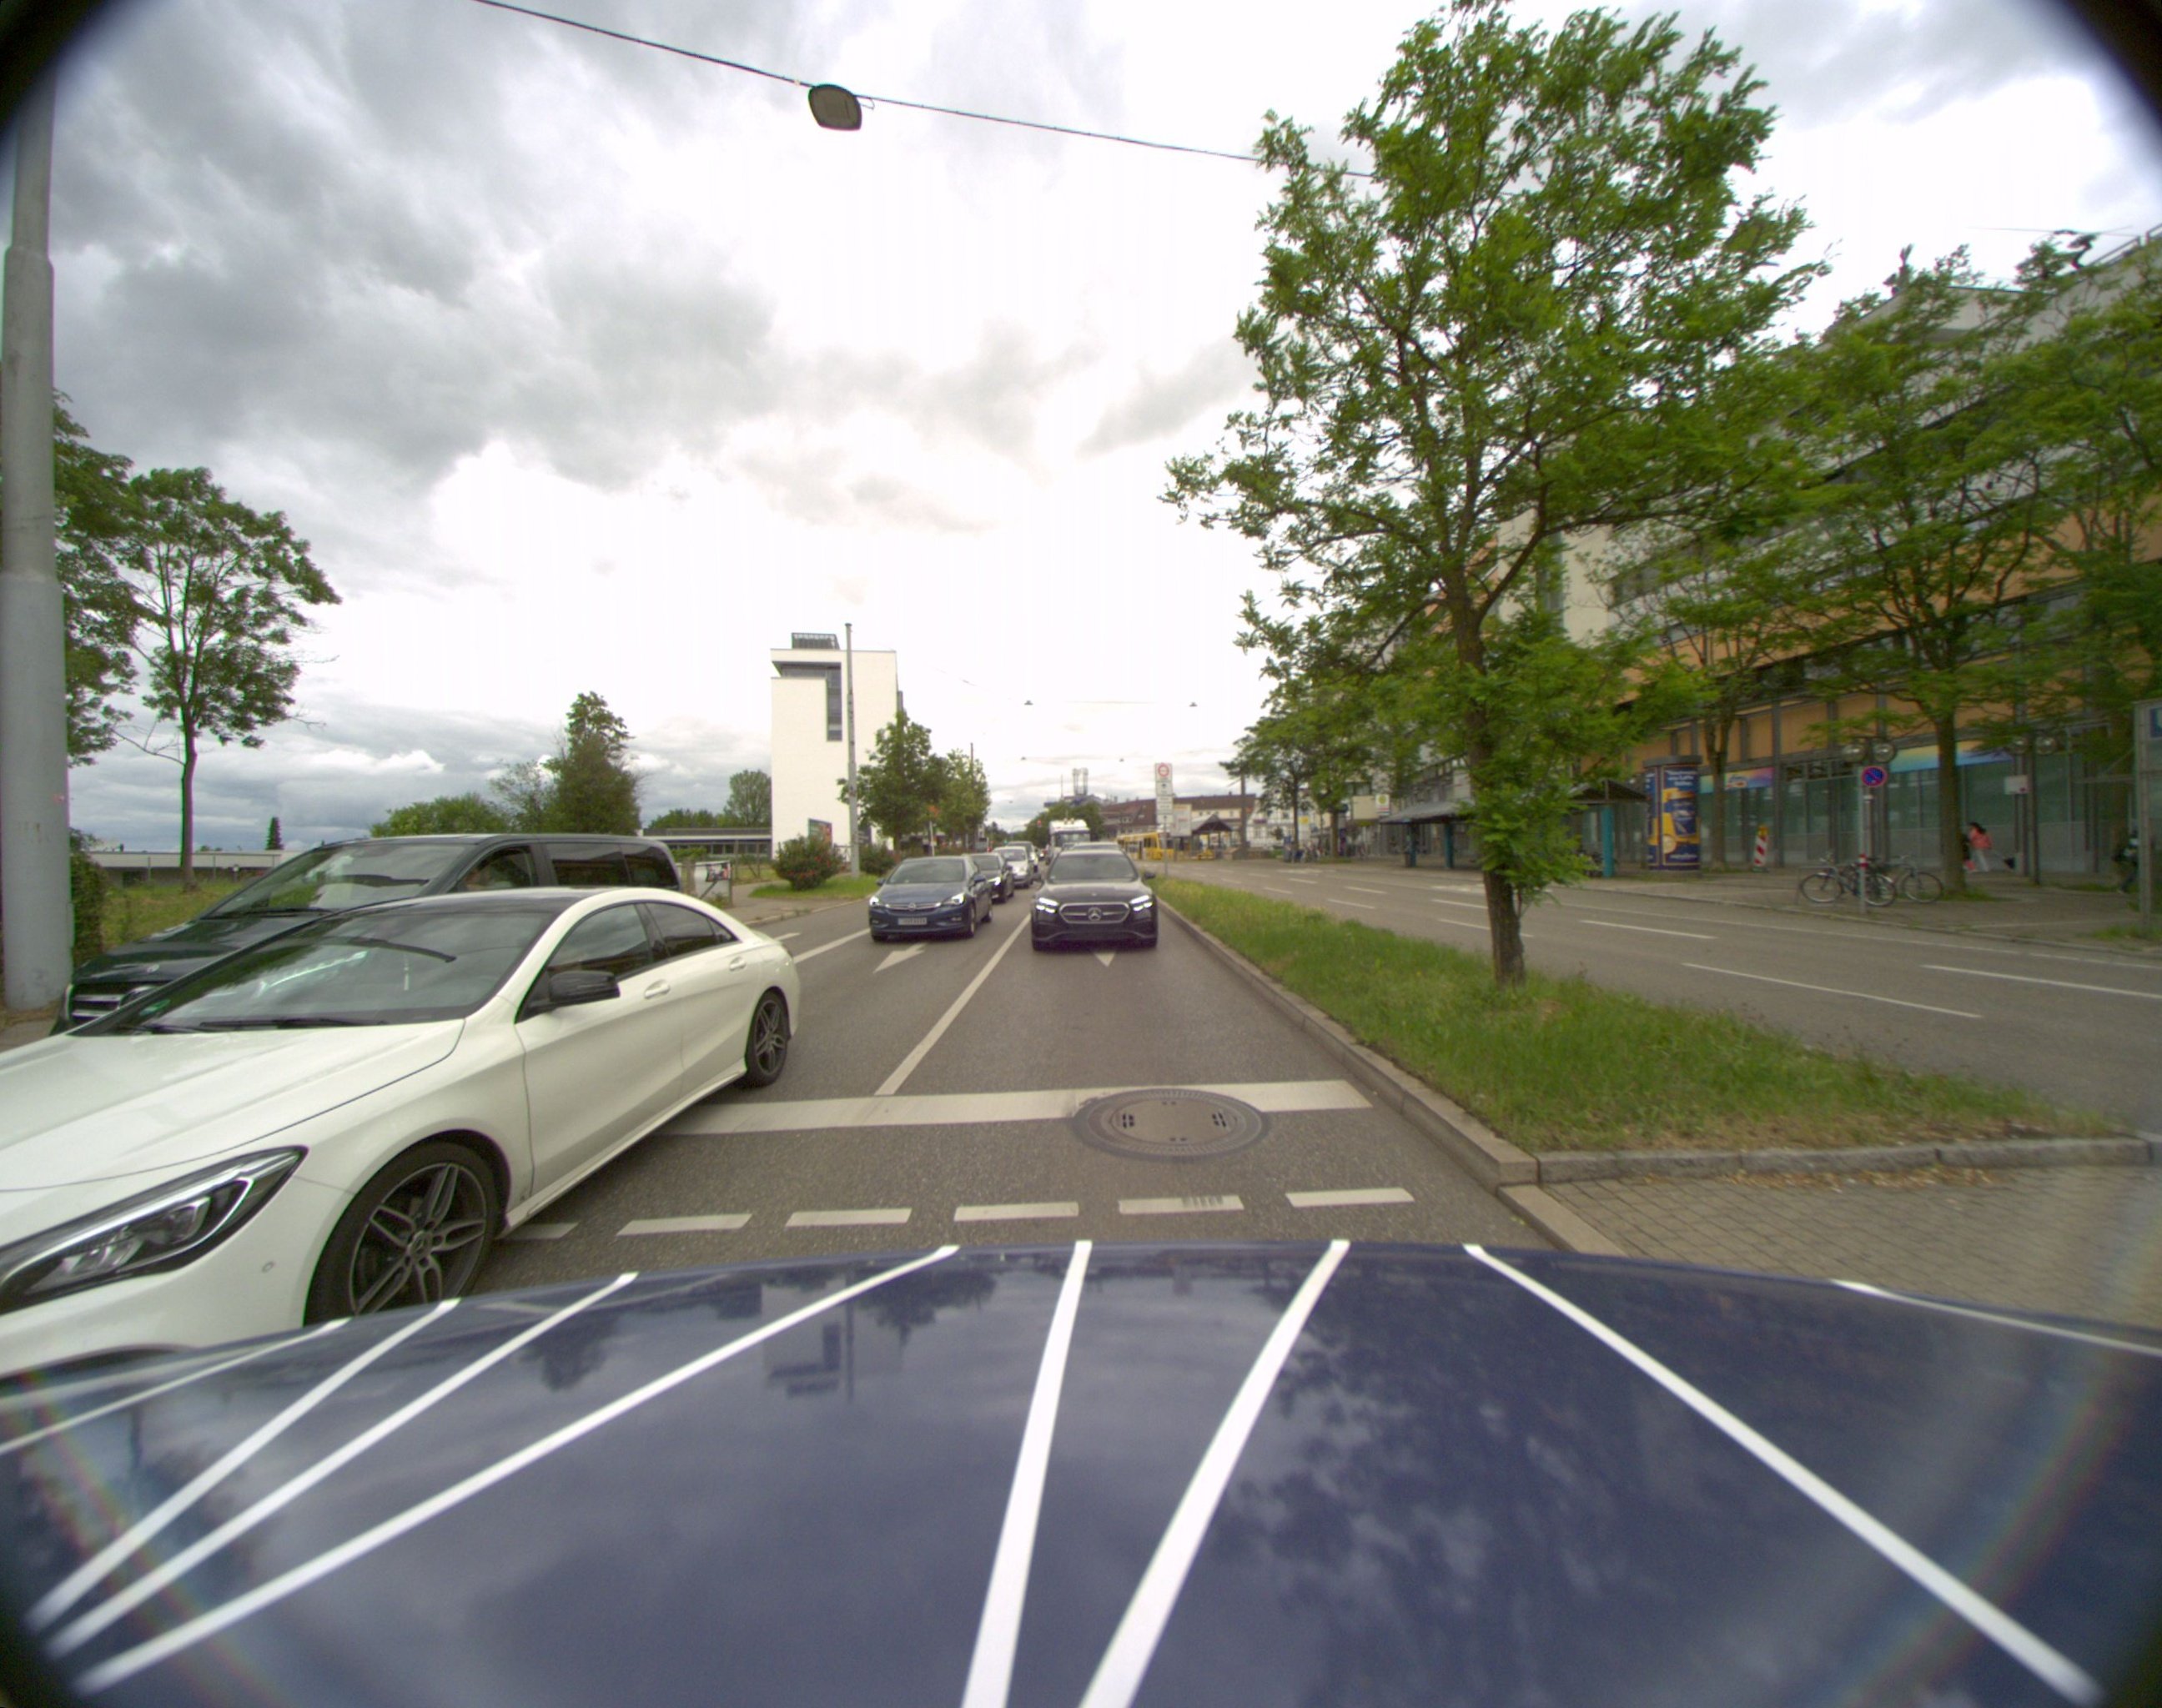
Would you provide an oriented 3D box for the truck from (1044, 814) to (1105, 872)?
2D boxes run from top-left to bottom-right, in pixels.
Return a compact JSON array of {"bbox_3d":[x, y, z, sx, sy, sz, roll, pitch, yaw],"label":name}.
[{"bbox_3d":[-0.526,-0.646,46.804,3.120,3.209,6.521,-3,1,-5],"label":"truck"}]

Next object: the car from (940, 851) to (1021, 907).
[{"bbox_3d":[-2.904,0.672,22.851,1.798,1.464,4.310,-1,1,1],"label":"car"}]

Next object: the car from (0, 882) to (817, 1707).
[{"bbox_3d":[-3.025,1.004,3.617,1.798,1.464,4.698,-1,1,1],"label":"car"}]

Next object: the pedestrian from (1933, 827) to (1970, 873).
[{"bbox_3d":[27.163,-0.128,23.715,0.462,1.424,0.580,-1,2,1],"label":"pedestrian"}]

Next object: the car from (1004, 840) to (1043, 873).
[{"bbox_3d":[-3.242,0.126,43.388,2.021,1.760,3.999,-1,1,-2],"label":"car"}]

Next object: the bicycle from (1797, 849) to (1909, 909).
[{"bbox_3d":[17.186,0.522,16.983,0.521,1.218,1.948,-2,1,1],"label":"bicycle"}]

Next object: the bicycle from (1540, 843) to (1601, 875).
[{"bbox_3d":[18.676,0.176,28.992,2.070,1.132,0.542,-3,2,-6],"label":"bicycle"}]

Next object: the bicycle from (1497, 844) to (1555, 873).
[{"bbox_3d":[18.350,0.193,31.338,2.069,1.084,0.542,-3,2,-1],"label":"bicycle"}]

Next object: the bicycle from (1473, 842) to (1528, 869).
[{"bbox_3d":[18.382,0.045,33.301,2.069,1.084,0.542,-3,2,-1],"label":"bicycle"}]

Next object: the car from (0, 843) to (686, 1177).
[{"bbox_3d":[-5.909,0.865,6.759,2.015,1.877,4.874,-1,1,3],"label":"car"}]

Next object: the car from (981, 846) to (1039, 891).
[{"bbox_3d":[-2.749,0.513,30.292,1.798,1.590,4.310,-1,1,1],"label":"car"}]

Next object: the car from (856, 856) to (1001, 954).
[{"bbox_3d":[-2.689,0.835,14.416,1.798,1.464,4.310,-1,1,1],"label":"car"}]

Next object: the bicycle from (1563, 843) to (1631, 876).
[{"bbox_3d":[18.993,0.193,27.984,2.206,1.084,0.542,-3,2,-6],"label":"bicycle"}]

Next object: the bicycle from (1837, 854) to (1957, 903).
[{"bbox_3d":[18.378,0.520,17.183,0.521,1.021,2.050,-2,1,1],"label":"bicycle"}]

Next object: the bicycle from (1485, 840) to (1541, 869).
[{"bbox_3d":[18.418,0.036,32.386,2.069,1.132,0.542,-3,2,-1],"label":"bicycle"}]

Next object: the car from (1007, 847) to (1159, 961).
[{"bbox_3d":[0.180,0.670,12.884,2.058,1.477,4.973,-1,1,4],"label":"car"}]

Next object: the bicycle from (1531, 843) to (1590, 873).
[{"bbox_3d":[18.889,0.152,29.938,2.070,1.084,0.542,-3,2,-6],"label":"bicycle"}]

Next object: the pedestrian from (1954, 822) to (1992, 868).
[{"bbox_3d":[27.803,-0.274,23.688,0.462,1.424,0.580,-1,2,1],"label":"pedestrian"}]
